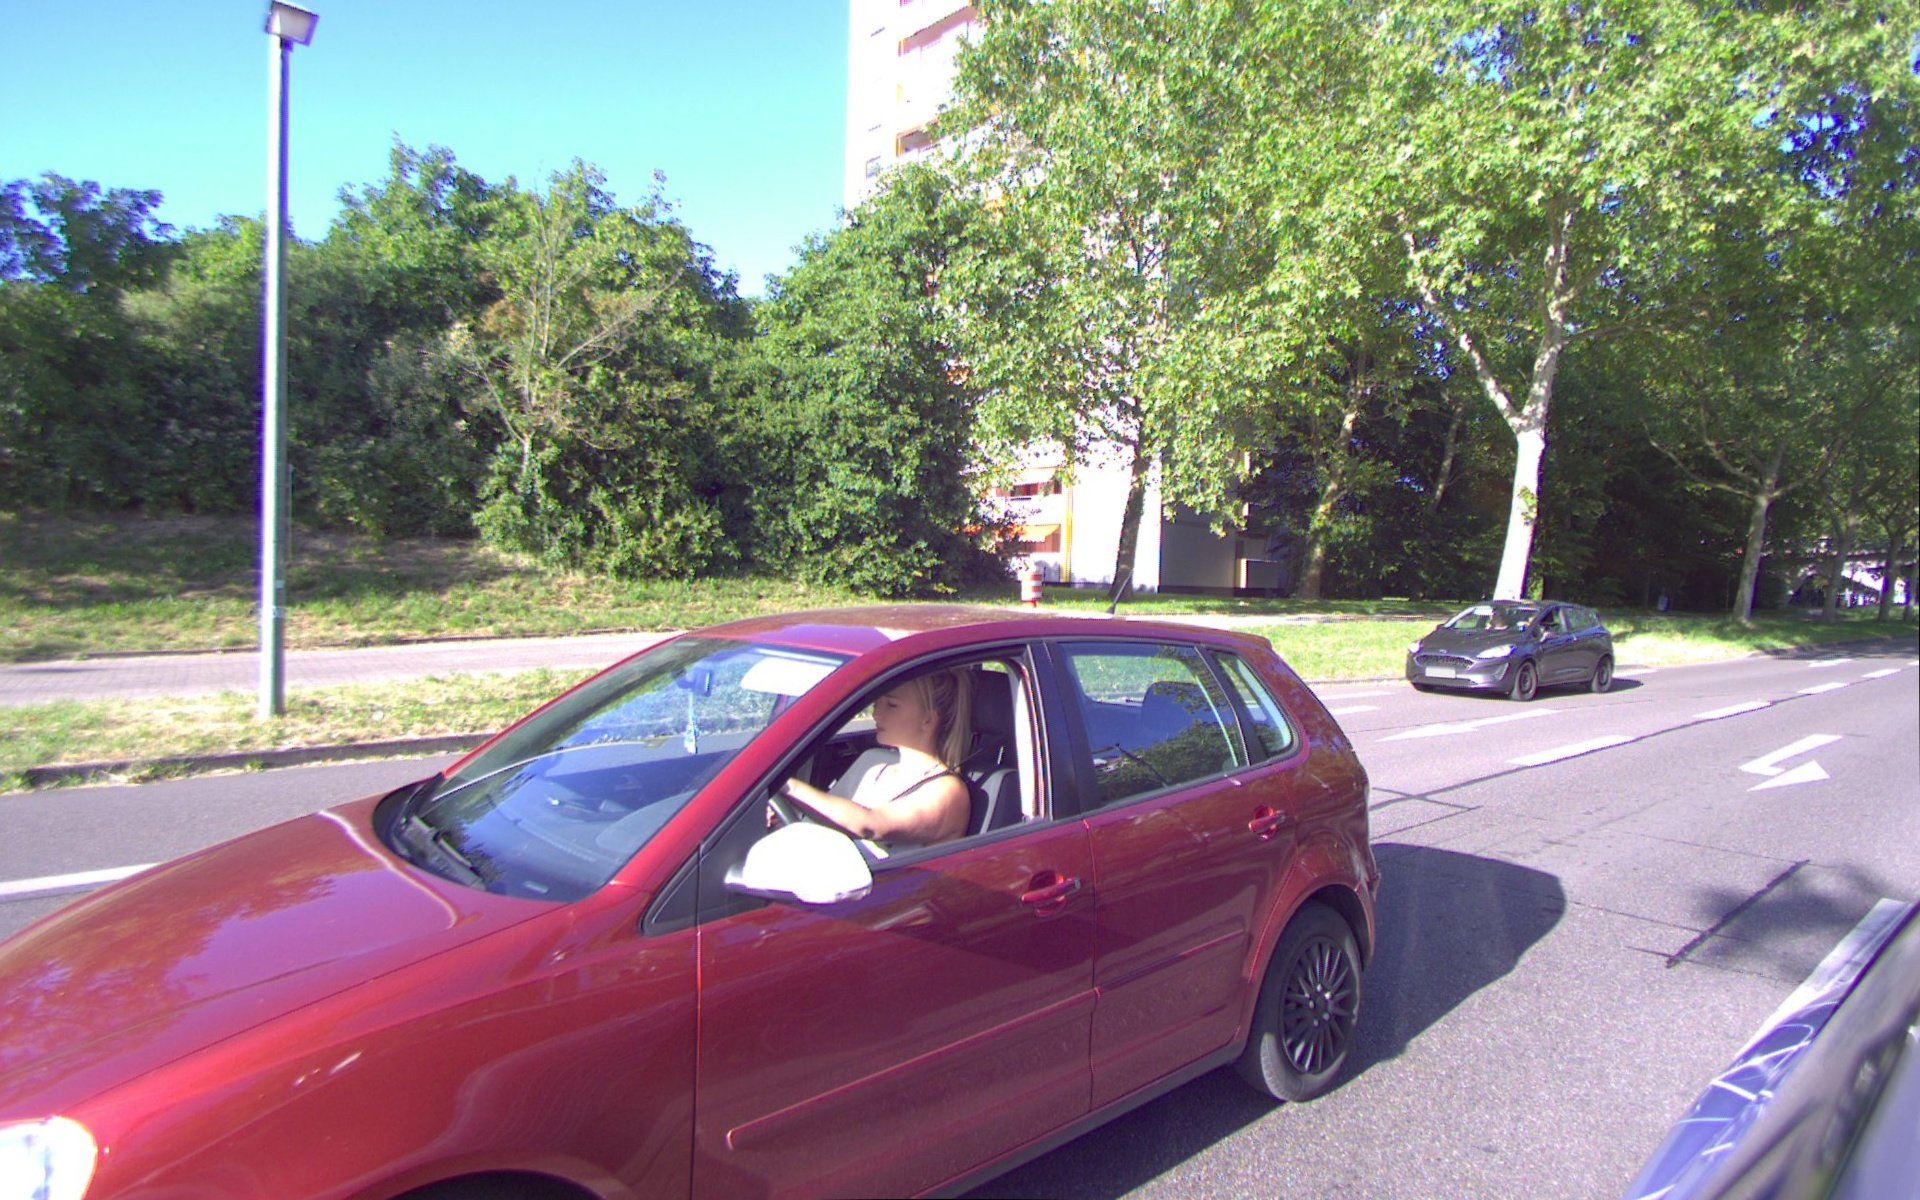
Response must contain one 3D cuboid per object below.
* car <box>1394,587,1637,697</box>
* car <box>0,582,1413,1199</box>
[{"bbox_3d":[8.723,0.575,15.821,3.817,1.487,1.752,0,1,-33],"label":"car"},{"bbox_3d":[-0.465,0.692,2.759,3.627,1.434,1.626,0,1,-39],"label":"car"}]
